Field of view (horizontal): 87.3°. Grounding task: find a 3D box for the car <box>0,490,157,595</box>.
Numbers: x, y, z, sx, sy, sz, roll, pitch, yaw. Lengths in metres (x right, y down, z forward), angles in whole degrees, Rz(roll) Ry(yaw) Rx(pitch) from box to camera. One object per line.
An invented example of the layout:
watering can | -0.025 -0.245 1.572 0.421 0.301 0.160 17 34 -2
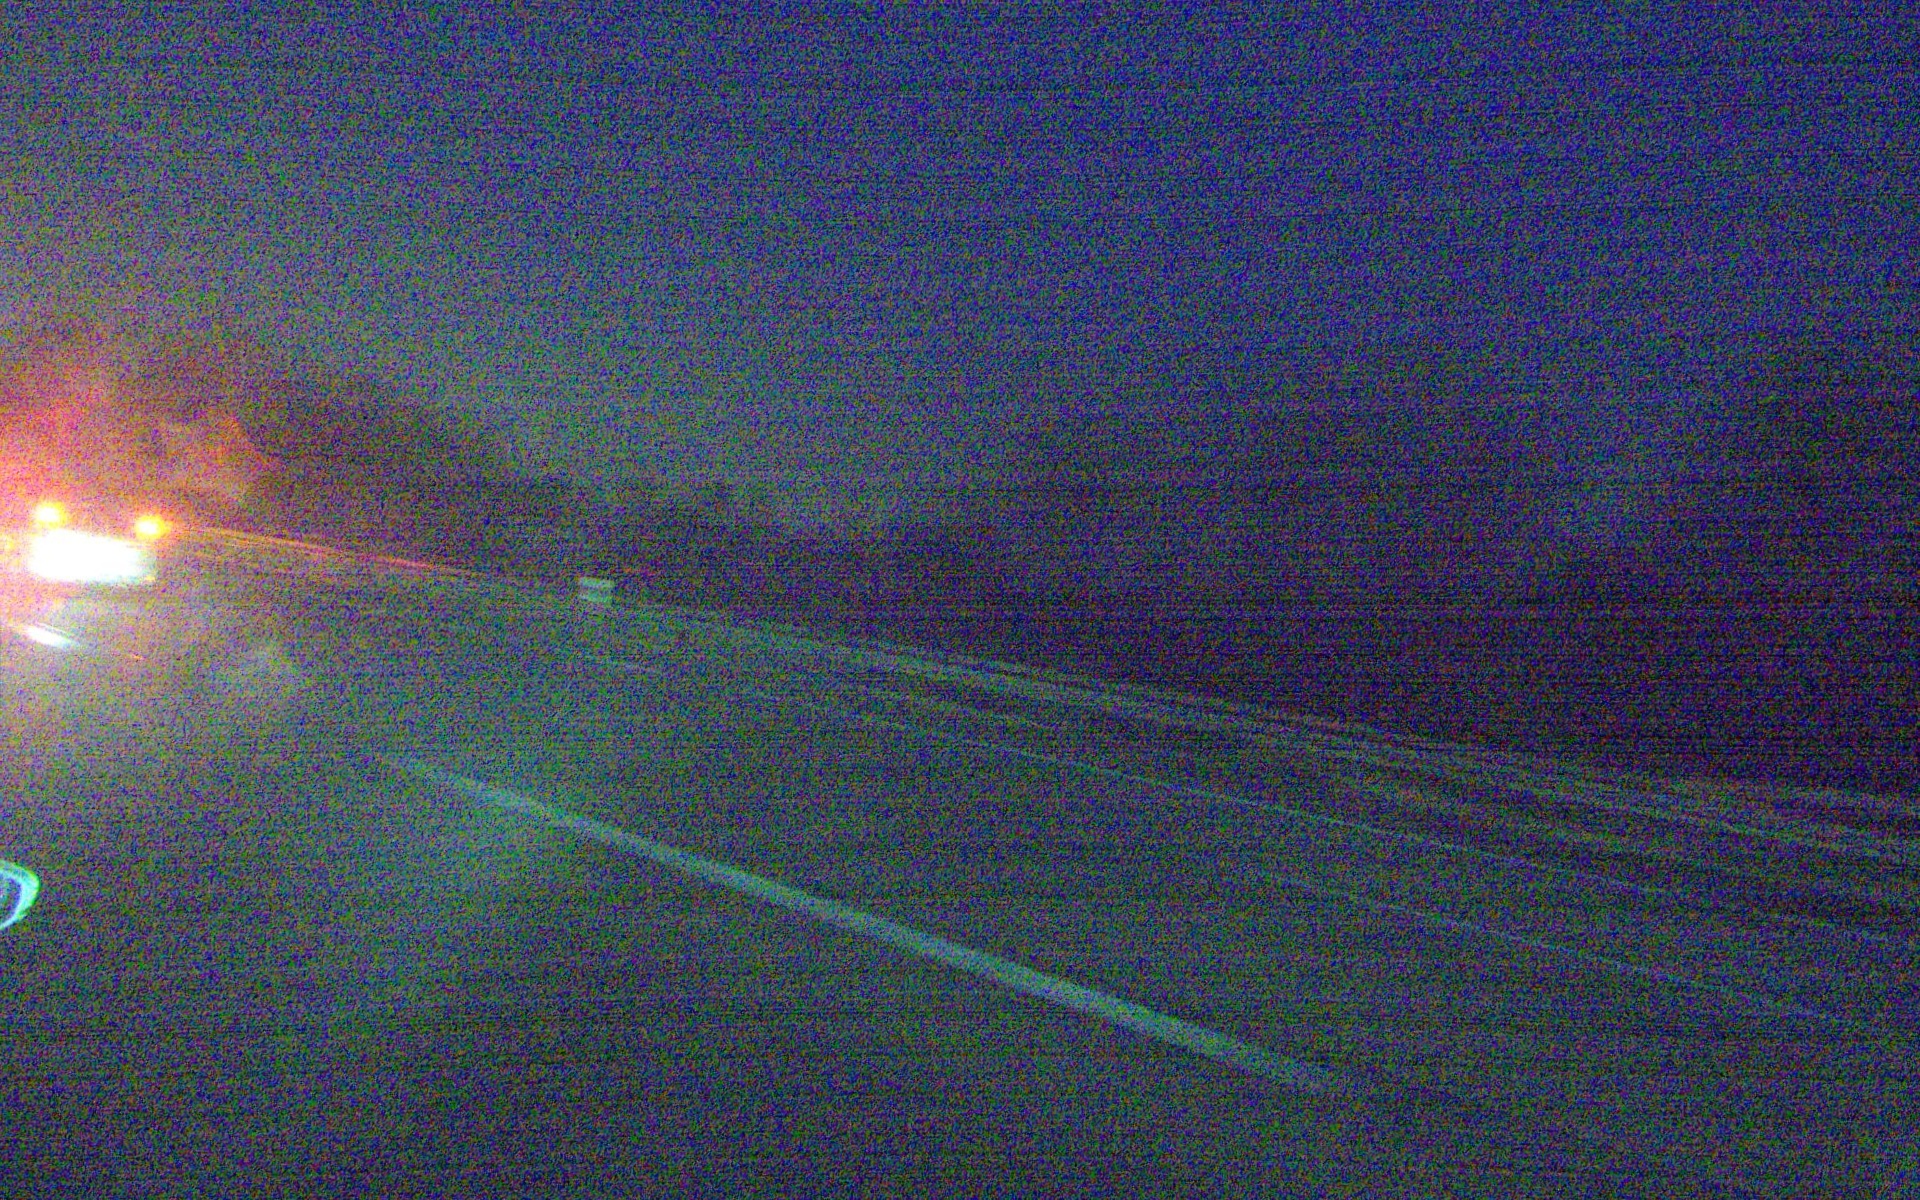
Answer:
car | -14.144 -0.952 15.493 3.015 1.260 1.585 8 -1 27
